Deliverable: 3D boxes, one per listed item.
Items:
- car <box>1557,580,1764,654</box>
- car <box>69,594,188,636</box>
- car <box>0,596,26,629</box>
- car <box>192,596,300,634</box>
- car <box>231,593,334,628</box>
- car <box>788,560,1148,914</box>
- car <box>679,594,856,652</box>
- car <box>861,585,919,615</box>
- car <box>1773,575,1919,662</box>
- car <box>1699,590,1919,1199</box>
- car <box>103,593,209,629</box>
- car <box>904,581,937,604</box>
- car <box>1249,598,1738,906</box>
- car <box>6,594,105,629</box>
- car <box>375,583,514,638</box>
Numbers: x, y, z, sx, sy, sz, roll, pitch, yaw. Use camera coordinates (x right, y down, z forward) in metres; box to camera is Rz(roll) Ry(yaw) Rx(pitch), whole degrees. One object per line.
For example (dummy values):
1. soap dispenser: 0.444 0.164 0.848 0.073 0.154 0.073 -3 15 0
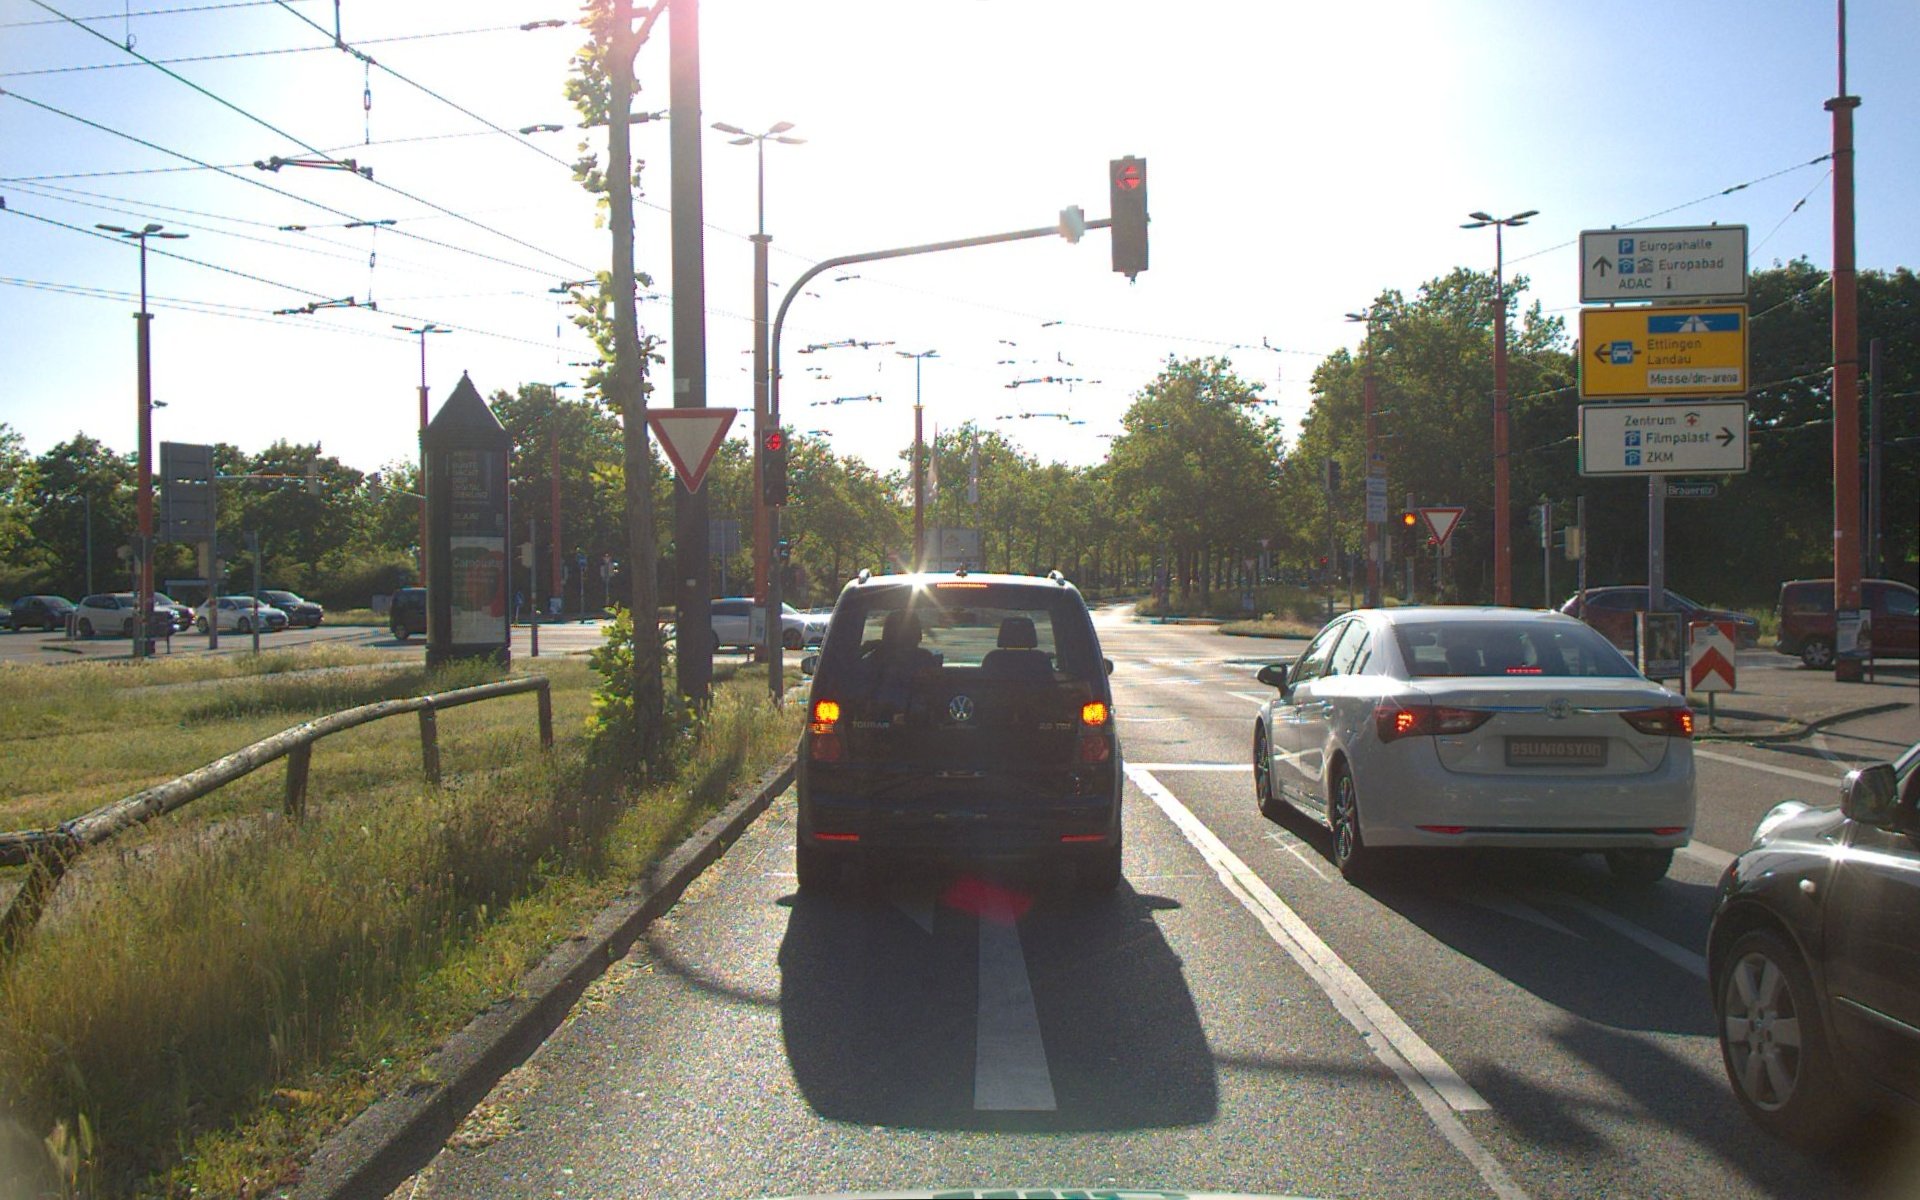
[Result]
1. car: 16.791 0.382 39.675 4.463 1.697 1.840 0 0 28
2. car: -33.460 0.594 66.544 4.687 1.626 1.912 0 0 27
3. car: -45.048 0.582 75.758 4.143 1.489 1.913 0 0 26
4. car: -29.343 0.603 67.980 4.127 1.489 1.912 0 0 27
5. car: -29.263 0.447 71.389 4.127 1.489 1.912 0 0 27
6. car: 0.011 0.641 9.854 1.702 1.670 3.999 0 0 -1
7. car: -5.530 0.629 47.409 4.821 1.602 1.997 0 0 29
8. car: -4.108 -0.007 98.278 1.951 1.714 4.831 0 0 17
9. car: 19.345 0.366 34.493 4.260 1.762 1.840 0 0 28
10. car: 3.132 0.740 3.499 1.525 1.532 3.515 0 0 -1
11. car: -34.332 0.446 70.604 4.275 1.489 1.912 0 0 27
12. car: -3.039 -0.591 128.129 1.951 1.714 4.832 0 0 7
13. car: 2.953 0.737 10.098 1.679 1.480 4.144 0 0 0
14. car: -40.000 0.503 73.150 3.963 1.489 1.912 0 0 26
15. car: -18.222 0.363 58.446 4.687 1.868 1.912 0 0 27
